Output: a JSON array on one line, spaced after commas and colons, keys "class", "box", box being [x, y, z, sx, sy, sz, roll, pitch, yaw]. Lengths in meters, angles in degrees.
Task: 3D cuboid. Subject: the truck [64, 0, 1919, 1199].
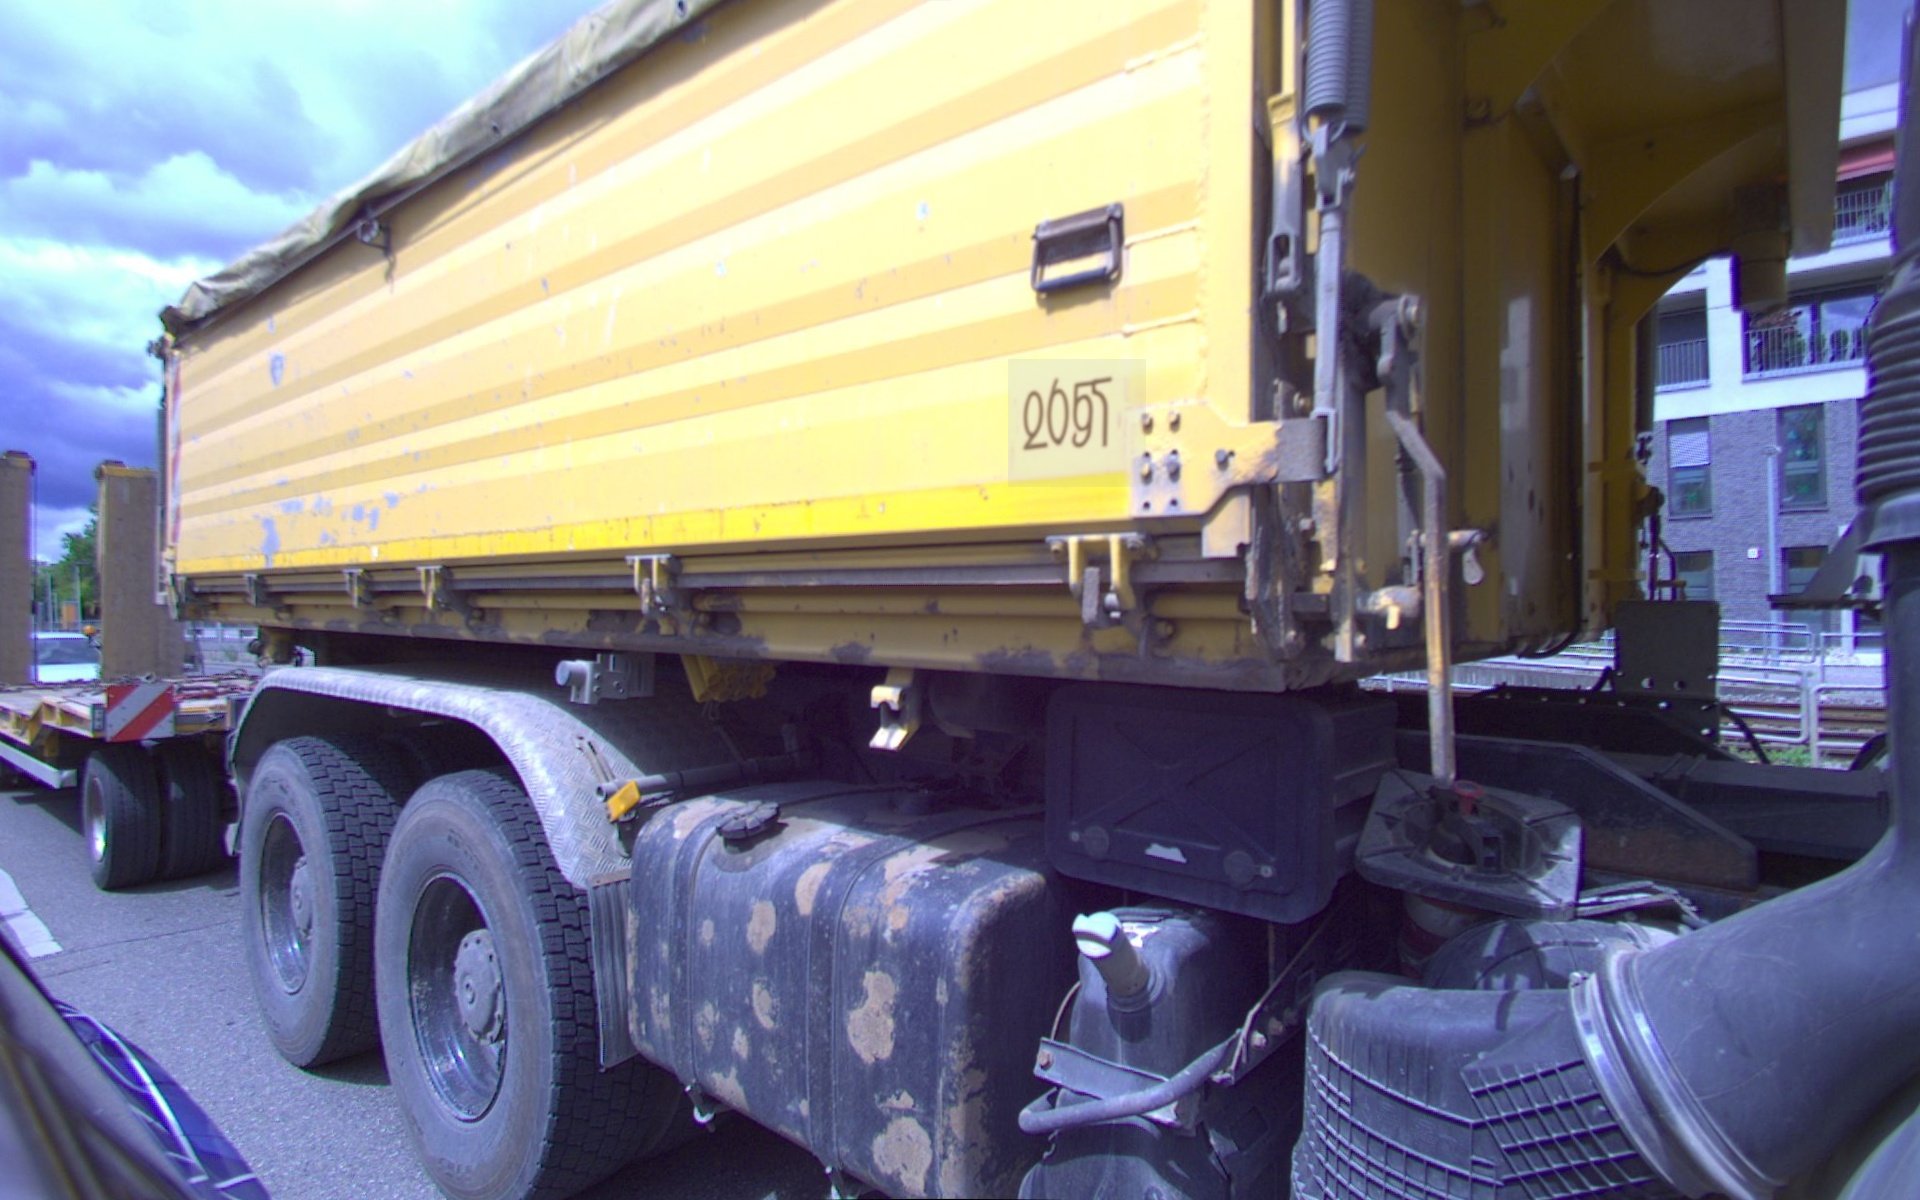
[{"class": "truck", "box": [0.177, -0.225, 2.931, 7.999, 3.420, 3.019, -2, -1, 40]}]

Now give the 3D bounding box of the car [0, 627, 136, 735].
[{"class": "car", "box": [-14.010, 1.150, 15.347, 3.784, 1.427, 1.761, -2, -1, 41]}]

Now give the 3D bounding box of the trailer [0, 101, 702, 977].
[{"class": "trailer", "box": [-6.856, -0.141, 9.011, 10.957, 3.726, 3.018, -2, -1, 40]}]
